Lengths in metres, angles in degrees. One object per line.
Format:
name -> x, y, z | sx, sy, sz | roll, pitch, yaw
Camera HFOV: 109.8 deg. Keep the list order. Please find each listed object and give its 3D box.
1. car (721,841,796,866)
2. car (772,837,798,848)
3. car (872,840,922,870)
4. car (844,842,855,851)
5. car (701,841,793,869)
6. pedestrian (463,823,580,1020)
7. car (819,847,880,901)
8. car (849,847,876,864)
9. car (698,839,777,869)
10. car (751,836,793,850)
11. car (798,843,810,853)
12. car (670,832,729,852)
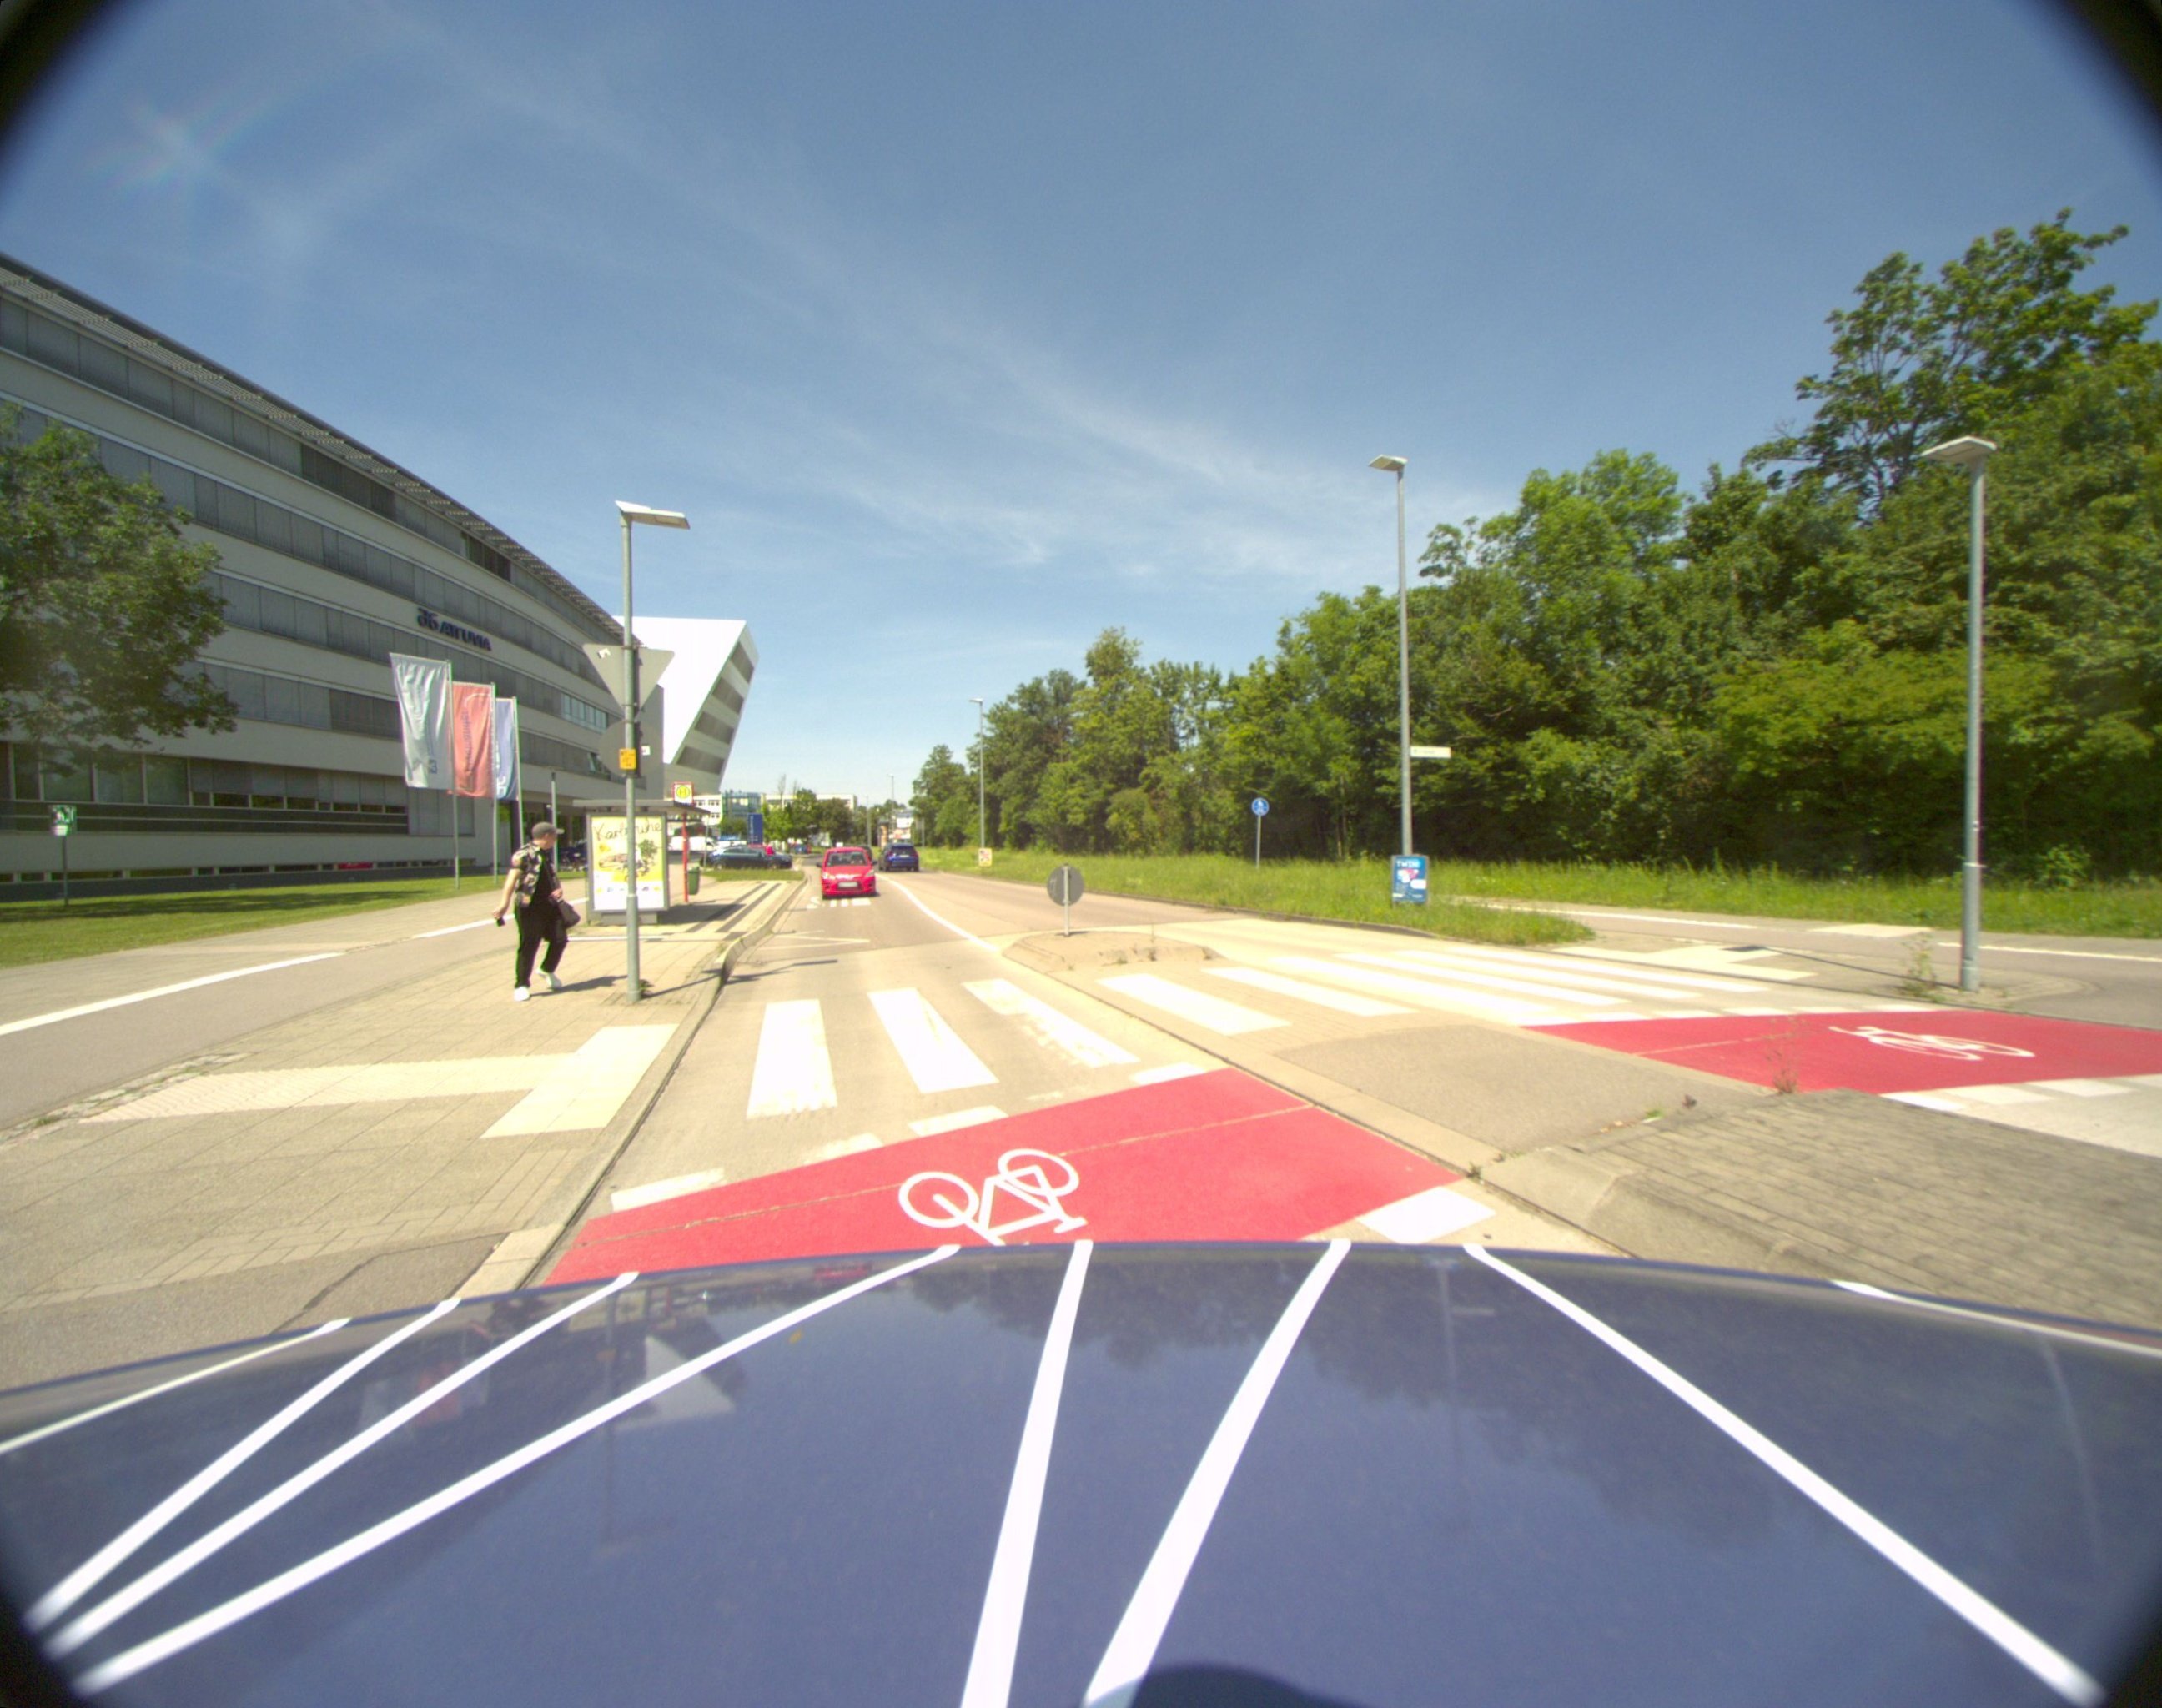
car -> -20.850, -0.026, 49.292 | 4.338, 1.555, 1.783 | 0, 2, -18
car -> -55.505, -2.211, 142.345 | 4.210, 1.965, 1.701 | -2, 2, -13
car -> -10.335, 0.068, 42.544 | 2.002, 1.586, 4.314 | -1, 0, -23
car -> -46.750, -1.538, 153.603 | 2.001, 1.622, 3.993 | -3, 2, -17
car -> -18.566, 0.057, 42.449 | 4.587, 1.424, 1.824 | 1, 1, -21
pedestrian -> -5.477, 0.620, 7.490 | 0.711, 1.812, 0.825 | 1, 2, -19
car -> -7.384, 0.569, 24.213 | 1.664, 1.495, 3.351 | -3, 2, -17
car -> -20.463, 0.123, 71.045 | 2.002, 1.470, 4.281 | 0, 0, -21
car -> -20.138, -0.015, 44.742 | 4.003, 1.646, 1.836 | -1, 2, -17
car -> -55.381, -1.996, 136.319 | 6.502, 2.138, 2.161 | -2, 2, -13
car -> -43.899, -0.924, 120.398 | 1.804, 1.490, 3.992 | -3, 2, -20
car -> -54.076, -1.716, 107.785 | 6.972, 2.648, 2.252 | -2, 2, -11
